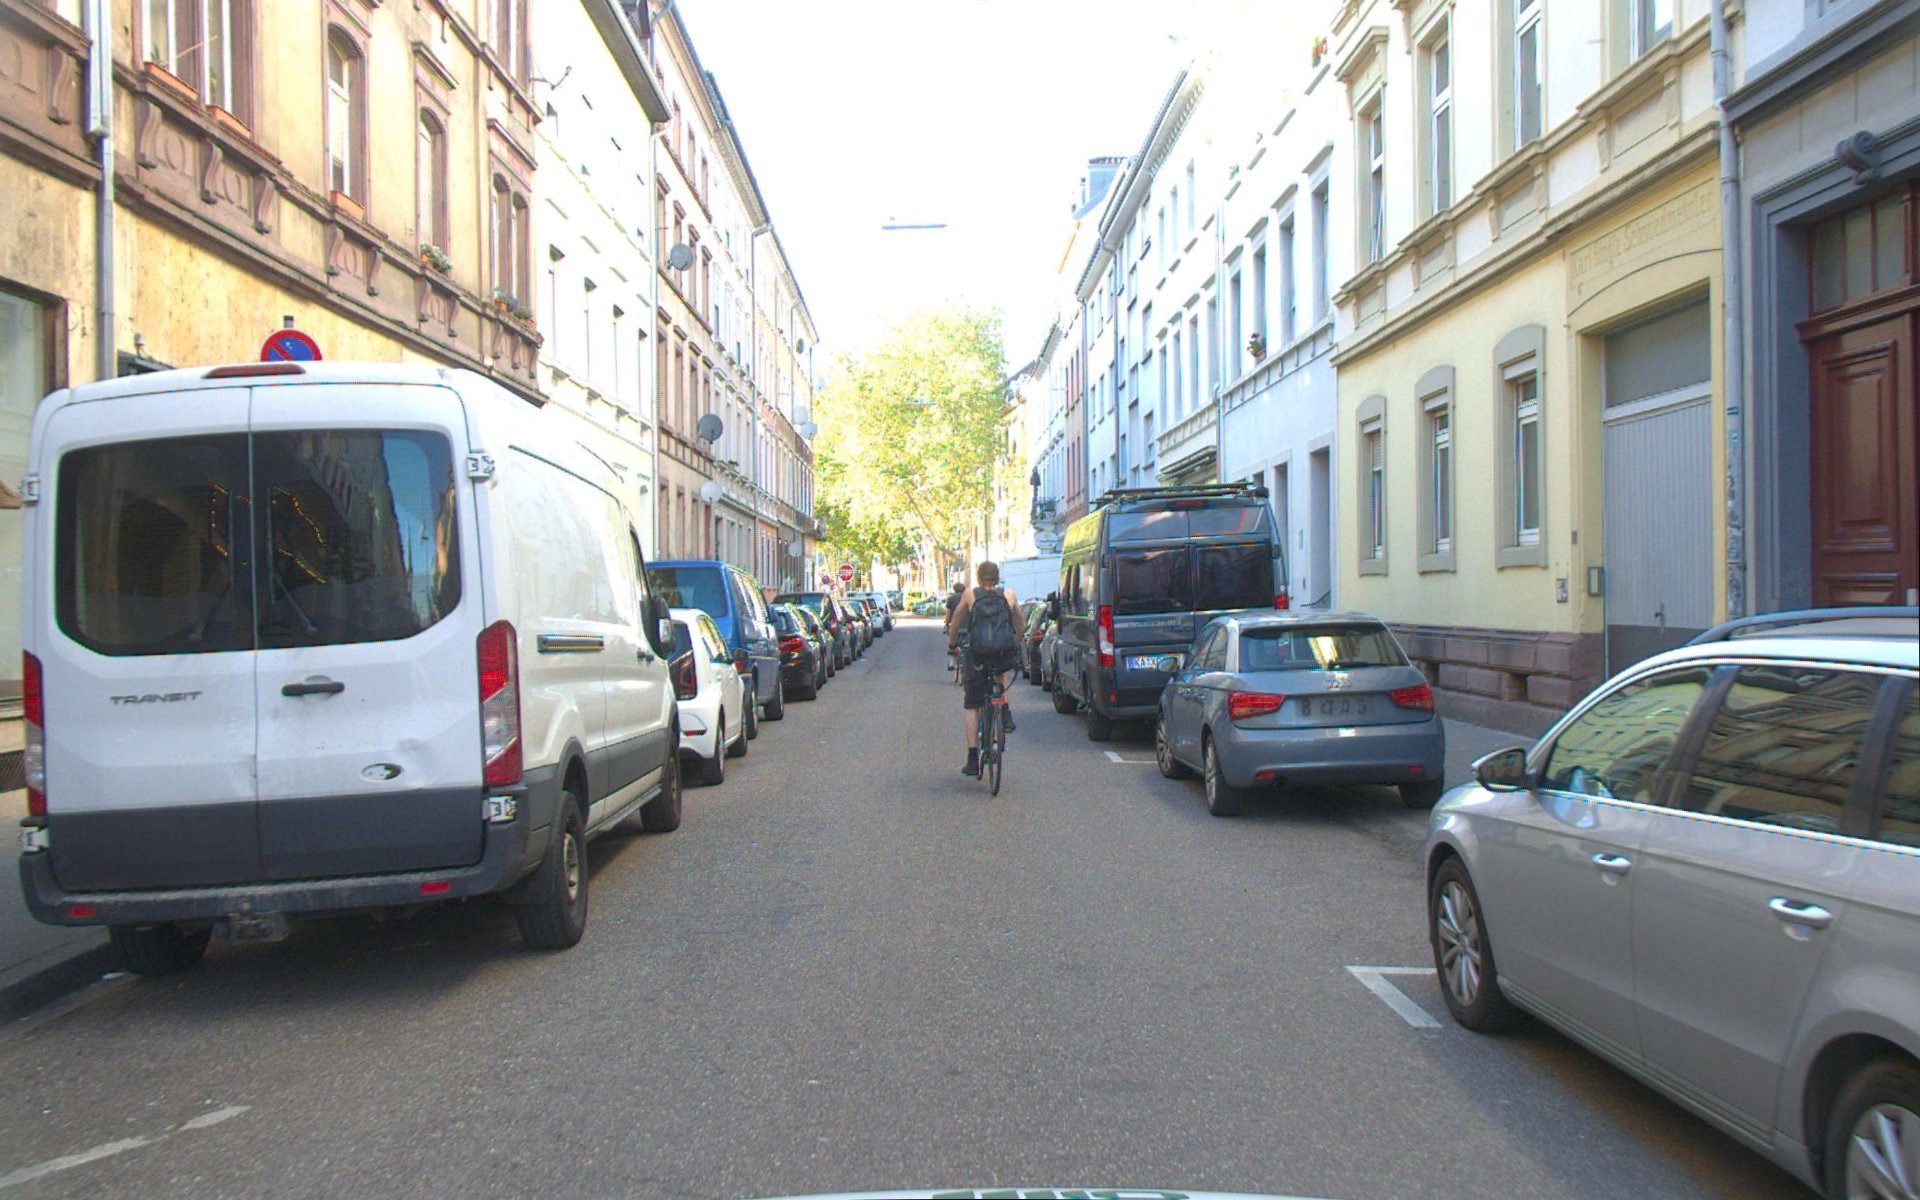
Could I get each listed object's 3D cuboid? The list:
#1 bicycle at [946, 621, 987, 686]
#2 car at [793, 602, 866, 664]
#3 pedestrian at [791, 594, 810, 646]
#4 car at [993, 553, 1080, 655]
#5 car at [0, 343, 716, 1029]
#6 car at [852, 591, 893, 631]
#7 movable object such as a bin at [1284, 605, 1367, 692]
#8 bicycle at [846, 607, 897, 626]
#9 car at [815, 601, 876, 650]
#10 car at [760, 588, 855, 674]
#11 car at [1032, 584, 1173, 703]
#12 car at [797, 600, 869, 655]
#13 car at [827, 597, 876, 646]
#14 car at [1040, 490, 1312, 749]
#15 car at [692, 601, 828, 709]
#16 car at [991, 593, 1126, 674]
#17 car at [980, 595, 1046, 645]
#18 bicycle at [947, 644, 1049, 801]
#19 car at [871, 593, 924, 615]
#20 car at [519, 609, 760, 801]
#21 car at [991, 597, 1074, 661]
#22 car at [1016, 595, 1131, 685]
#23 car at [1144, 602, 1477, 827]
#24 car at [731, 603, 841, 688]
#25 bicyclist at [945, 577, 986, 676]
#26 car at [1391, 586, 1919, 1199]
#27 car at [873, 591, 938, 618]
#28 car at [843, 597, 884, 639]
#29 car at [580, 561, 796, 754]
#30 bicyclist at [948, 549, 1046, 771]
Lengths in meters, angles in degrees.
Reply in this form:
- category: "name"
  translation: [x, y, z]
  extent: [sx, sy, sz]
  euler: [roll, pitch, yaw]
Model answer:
- category: "bicycle"
  translation: [0.104, 0.914, 28.985]
  extent: [0.650, 1.055, 1.958]
  euler: [-2, 0, -1]
- category: "car"
  translation: [-3.314, 0.817, 42.552]
  extent: [1.559, 1.465, 3.653]
  euler: [-2, 0, 0]
- category: "pedestrian"
  translation: [-5.802, 0.715, 60.142]
  extent: [0.598, 1.890, 0.753]
  euler: [1, 0, -2]
- category: "car"
  translation: [2.056, 0.097, 46.094]
  extent: [2.159, 2.595, 6.036]
  euler: [-2, 0, 1]
- category: "car"
  translation: [-2.796, 0.309, 9.219]
  extent: [2.125, 2.494, 5.919]
  euler: [-3, 0, -2]
- category: "car"
  translation: [-4.054, 0.511, 77.110]
  extent: [1.752, 1.767, 3.875]
  euler: [-2, 0, -2]
- category: "movable object such as a bin"
  translation: [4.833, 0.630, 21.910]
  extent: [0.846, 1.060, 0.707]
  euler: [-4, 0, -3]
- category: "bicycle"
  translation: [-4.625, 0.881, 86.635]
  extent: [2.662, 0.907, 0.618]
  euler: [-2, 0, -4]
- category: "car"
  translation: [-3.592, 0.786, 52.582]
  extent: [1.671, 1.438, 4.301]
  euler: [-2, 0, -1]
- category: "car"
  translation: [-3.407, 0.667, 37.571]
  extent: [1.764, 1.727, 3.999]
  euler: [-4, 0, -1]
- category: "car"
  translation: [2.157, 0.620, 26.065]
  extent: [1.659, 1.636, 4.373]
  euler: [-3, 0, -1]
- category: "car"
  translation: [-3.608, 0.757, 47.522]
  extent: [1.639, 1.455, 3.889]
  euler: [-2, 0, 1]
- category: "car"
  translation: [-3.747, 0.719, 57.538]
  extent: [1.573, 1.556, 3.377]
  euler: [-3, 0, -3]
- category: "car"
  translation: [2.304, 0.178, 19.570]
  extent: [2.131, 2.467, 6.307]
  euler: [-3, 0, -2]
- category: "car"
  translation: [-3.111, 0.800, 26.556]
  extent: [1.825, 1.465, 4.642]
  euler: [-2, 1, -3]
- category: "car"
  translation: [2.031, 0.661, 35.597]
  extent: [1.779, 1.503, 4.596]
  euler: [-4, 1, -10]
- category: "car"
  translation: [1.643, 0.613, 52.614]
  extent: [1.697, 1.496, 4.018]
  euler: [-2, 0, -4]
- category: "bicycle"
  translation: [0.280, 0.947, 13.436]
  extent: [0.725, 1.120, 2.041]
  euler: [0, 0, -2]
- category: "car"
  translation: [-5.389, 0.372, 141.833]
  extent: [4.382, 1.725, 1.864]
  euler: [-2, 0, -6]
- category: "car"
  translation: [-2.816, 0.855, 15.273]
  extent: [1.612, 1.472, 3.837]
  euler: [-2, 0, -3]
- category: "car"
  translation: [1.737, 0.670, 40.642]
  extent: [1.690, 1.454, 3.830]
  euler: [-2, 0, -2]
- category: "car"
  translation: [2.042, 0.690, 30.813]
  extent: [1.711, 1.511, 4.242]
  euler: [-2, 0, -1]
- category: "car"
  translation: [2.604, 0.776, 13.272]
  extent: [1.712, 1.469, 4.171]
  euler: [-1, 0, -1]
- category: "car"
  translation: [-3.262, 0.816, 31.614]
  extent: [1.701, 1.452, 3.999]
  euler: [-2, 0, -1]
- category: "bicyclist"
  translation: [0.091, 0.461, 28.952]
  extent: [0.656, 1.687, 0.877]
  euler: [-2, 0, -1]
- category: "car"
  translation: [2.719, 0.754, 4.395]
  extent: [1.750, 1.479, 4.545]
  euler: [-4, 0, -2]
- category: "car"
  translation: [-3.836, 0.305, 116.284]
  extent: [4.382, 1.790, 1.864]
  euler: [-2, 0, -6]
- category: "car"
  translation: [-3.821, 0.681, 64.913]
  extent: [1.514, 1.577, 3.462]
  euler: [-2, 0, -4]
- category: "car"
  translation: [-3.112, 0.601, 19.862]
  extent: [1.790, 1.924, 4.612]
  euler: [-4, 0, -1]
- category: "bicyclist"
  translation: [0.285, 0.463, 13.287]
  extent: [0.725, 1.708, 1.116]
  euler: [0, 0, -2]
